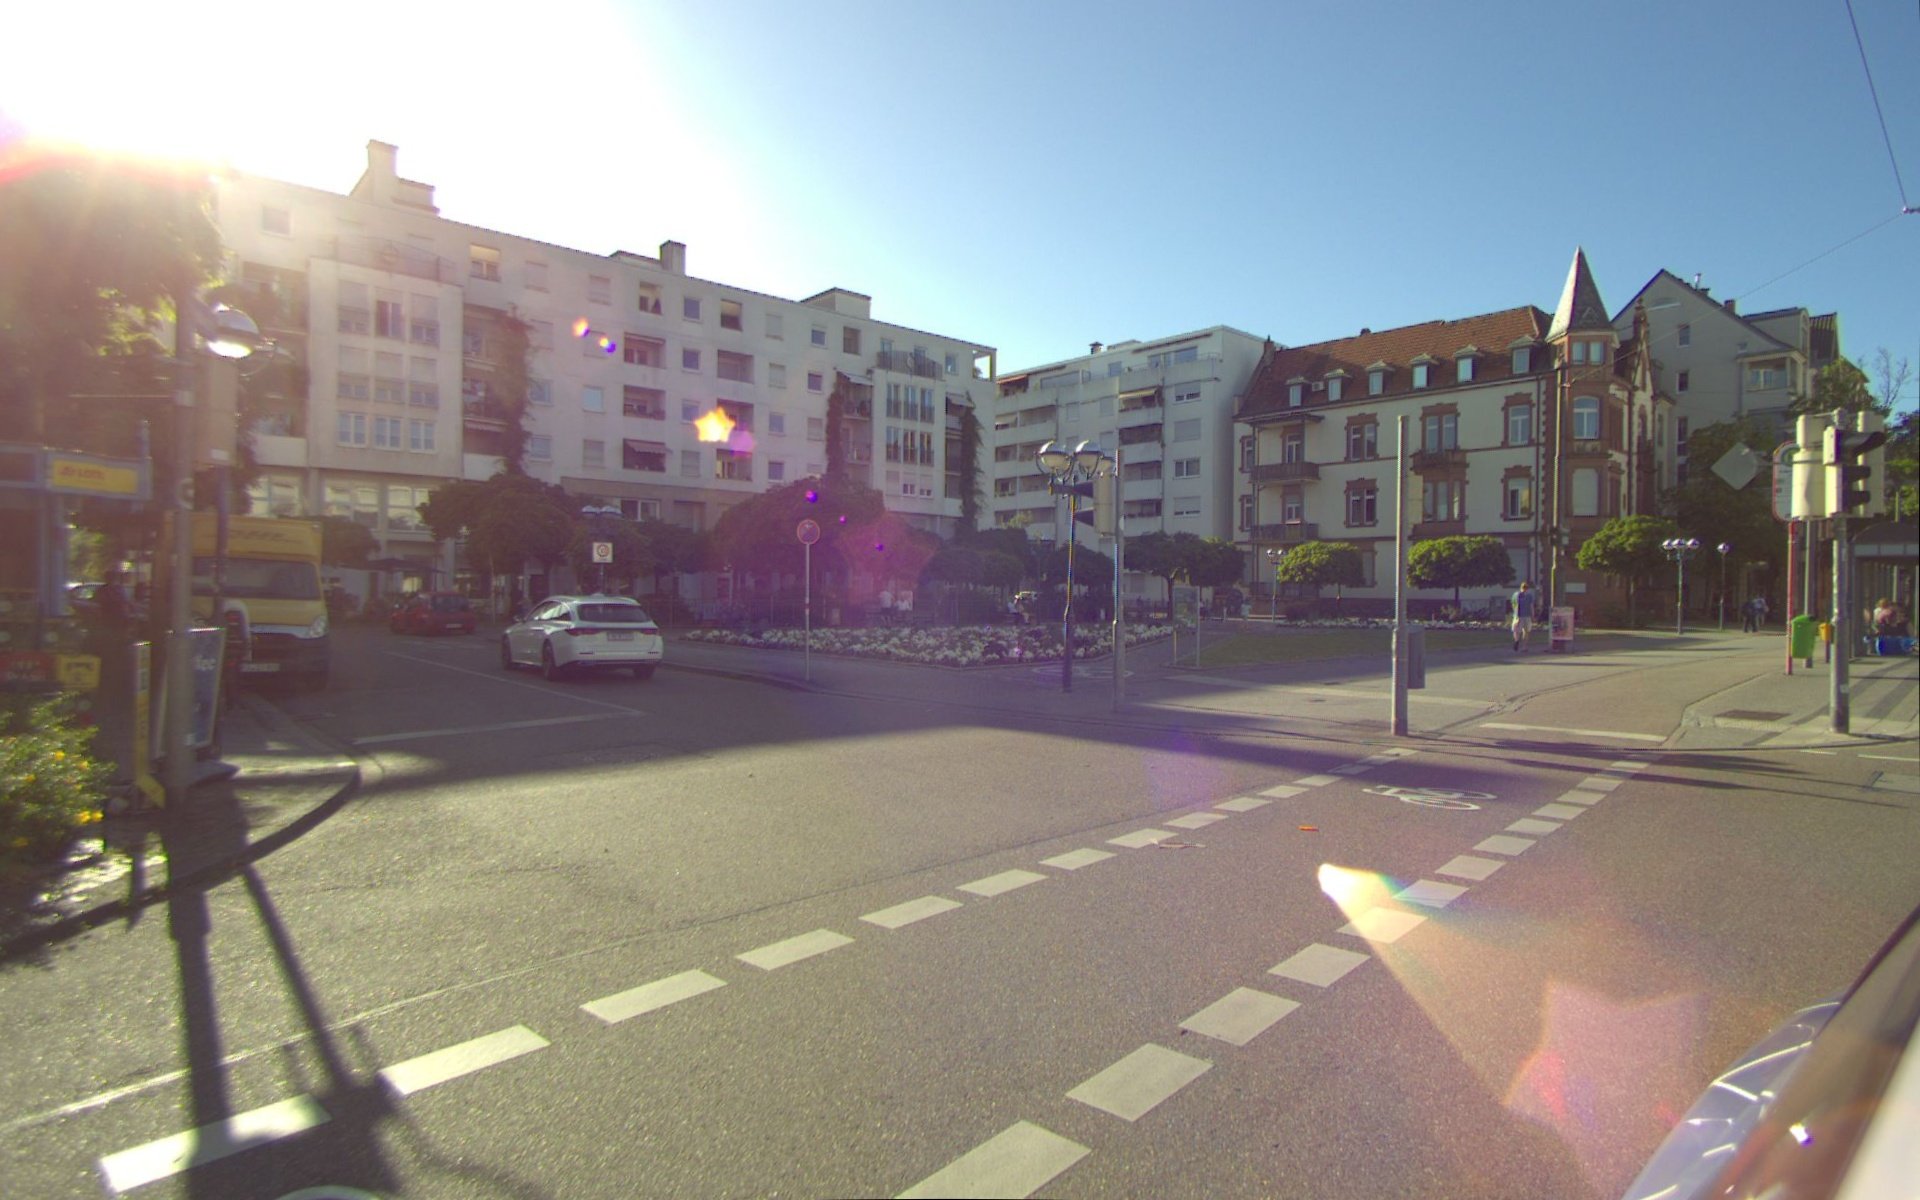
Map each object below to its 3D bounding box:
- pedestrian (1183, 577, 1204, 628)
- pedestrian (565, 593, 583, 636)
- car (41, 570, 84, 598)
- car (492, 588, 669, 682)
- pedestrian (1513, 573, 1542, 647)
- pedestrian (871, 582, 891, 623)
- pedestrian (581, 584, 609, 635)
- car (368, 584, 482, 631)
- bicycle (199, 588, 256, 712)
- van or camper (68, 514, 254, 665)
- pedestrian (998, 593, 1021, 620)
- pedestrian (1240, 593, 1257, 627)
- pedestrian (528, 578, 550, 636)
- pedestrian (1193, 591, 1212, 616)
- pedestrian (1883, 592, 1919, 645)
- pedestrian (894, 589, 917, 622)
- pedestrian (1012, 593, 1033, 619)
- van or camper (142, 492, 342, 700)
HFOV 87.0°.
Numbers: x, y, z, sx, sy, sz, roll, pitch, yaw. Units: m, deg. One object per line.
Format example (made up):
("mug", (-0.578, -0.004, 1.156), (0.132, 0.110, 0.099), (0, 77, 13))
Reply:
("pedestrian", (7.507, 0.068, 32.513), (0.640, 1.622, 0.699), (0, 0, 13))
("pedestrian", (-11.113, 0.408, 29.143), (0.414, 1.216, 0.309), (0, 0, -42))
("car", (-51.147, -0.914, 57.665), (1.783, 1.571, 3.993), (0, 1, -42))
("car", (-7.171, 0.546, 18.839), (1.776, 1.481, 4.548), (0, 1, -39))
("pedestrian", (15.447, 0.250, 27.531), (0.644, 1.980, 0.577), (1, 0, 32))
("pedestrian", (-3.062, 0.078, 39.083), (0.558, 1.563, 0.547), (1, 0, 38))
("pedestrian", (-10.589, 0.269, 29.391), (0.579, 1.470, 0.604), (0, 0, -42))
("car", (-17.854, 0.211, 33.736), (3.967, 1.481, 1.786), (1, 1, 35))
("bicycle", (-9.282, 0.572, 12.854), (0.544, 1.441, 2.074), (0, 1, -35))
("van or camper", (-17.813, -0.261, 22.668), (2.869, 2.849, 6.929), (0, 1, -38))
("pedestrian", (2.175, 0.271, 44.533), (0.765, 1.165, 0.628), (1, 0, 40))
("pedestrian", (9.345, 0.313, 32.801), (0.445, 1.096, 0.449), (0, 0, 9))
("pedestrian", (-11.950, 0.192, 28.735), (0.476, 1.602, 0.408), (0, 0, -41))
("pedestrian", (13.014, 0.193, 54.345), (0.668, 1.308, 0.709), (0, 0, -44))
("pedestrian", (22.242, 0.436, 23.797), (0.770, 1.219, 0.602), (1, 0, 40))
("pedestrian", (-2.154, 0.201, 40.007), (0.558, 1.290, 0.691), (1, 0, 38))
("pedestrian", (2.780, 0.265, 44.946), (0.714, 1.165, 0.628), (1, 0, 40))
("van or camper", (-12.419, -0.122, 17.231), (2.180, 2.849, 6.925), (0, 1, -40))
